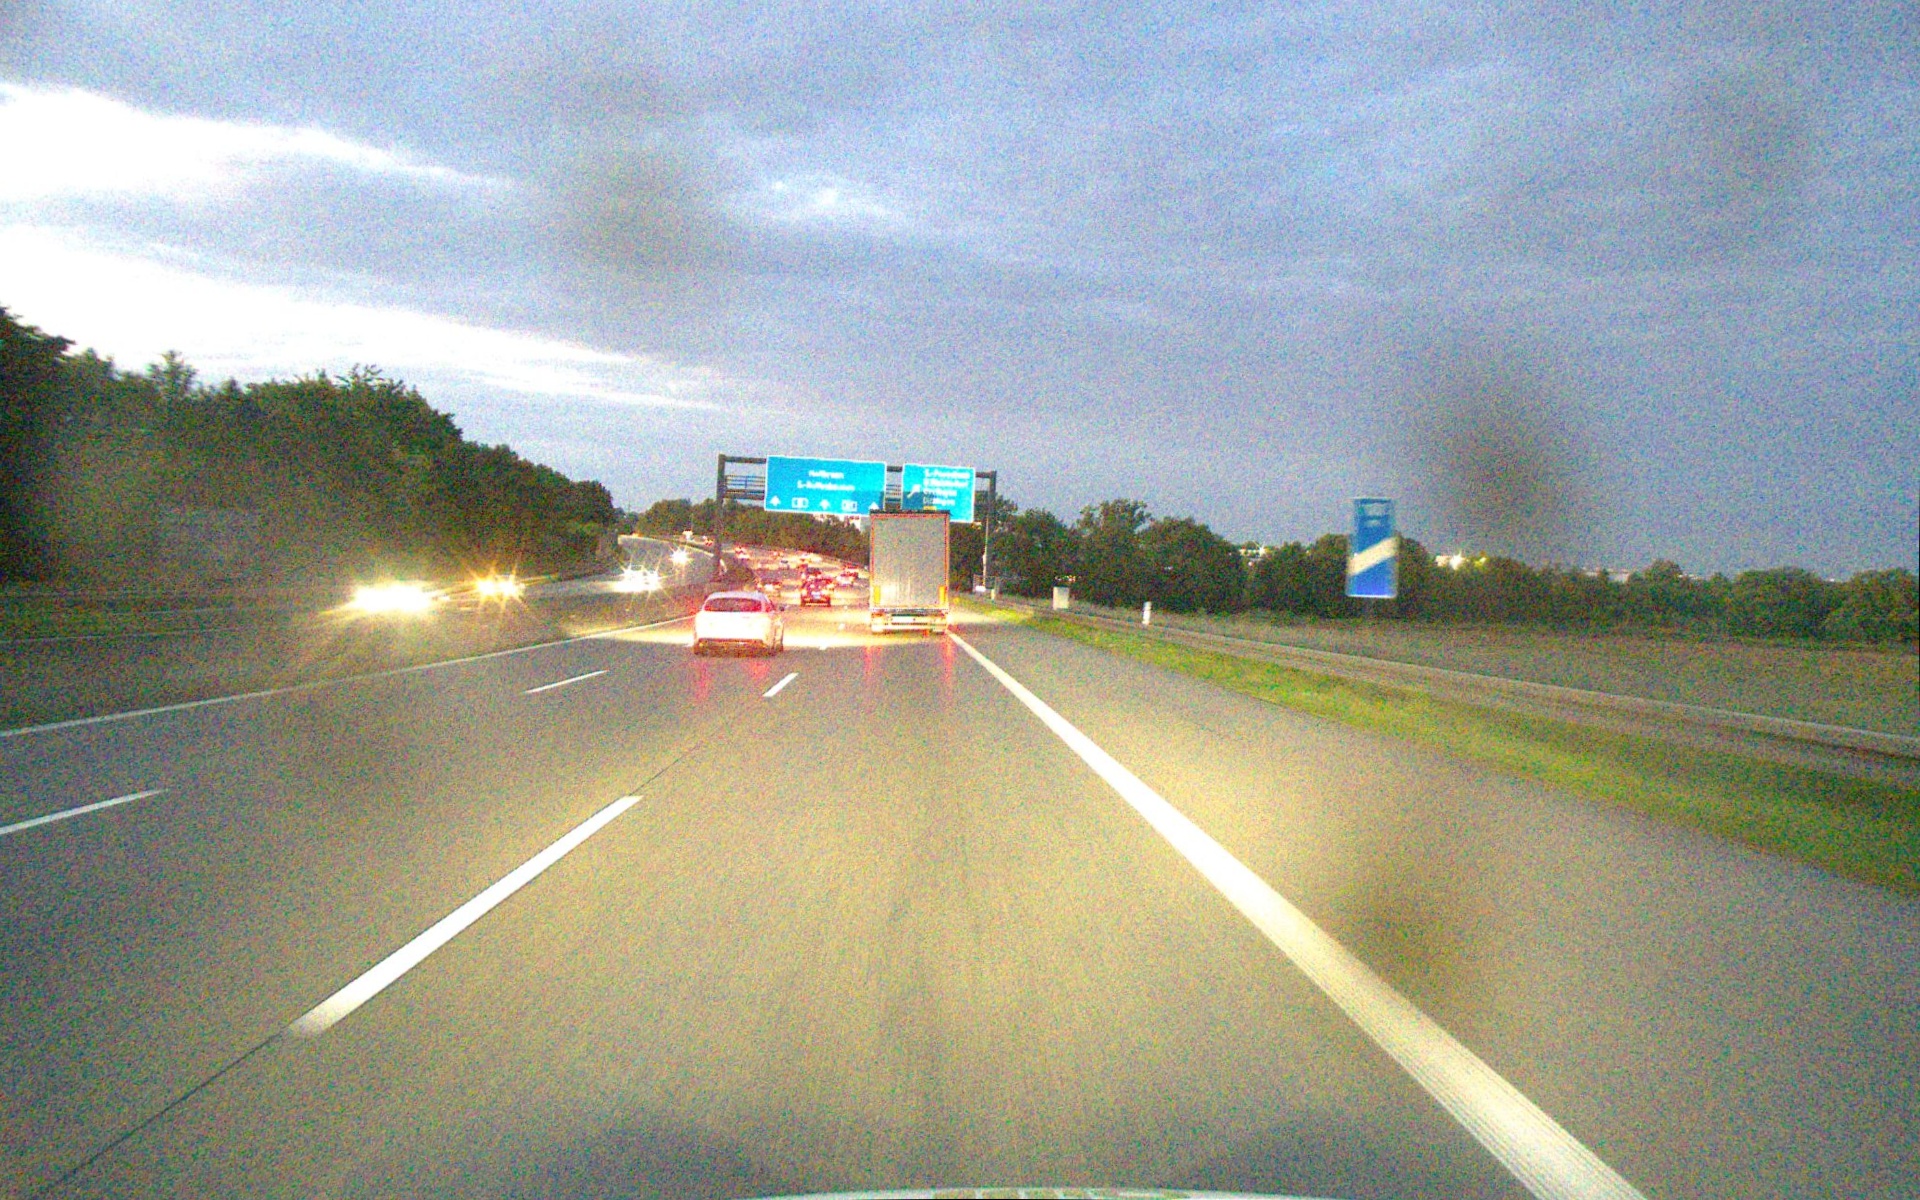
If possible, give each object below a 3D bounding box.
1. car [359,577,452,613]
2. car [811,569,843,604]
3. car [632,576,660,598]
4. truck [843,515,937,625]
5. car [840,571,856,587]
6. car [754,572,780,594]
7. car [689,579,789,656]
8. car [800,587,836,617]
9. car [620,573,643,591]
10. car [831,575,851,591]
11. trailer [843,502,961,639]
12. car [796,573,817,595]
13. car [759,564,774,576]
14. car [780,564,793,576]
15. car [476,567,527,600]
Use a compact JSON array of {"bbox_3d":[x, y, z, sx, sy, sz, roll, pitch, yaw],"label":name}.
[{"bbox_3d":[-21.505,-0.165,64.353,2.018,1.247,5.231,2,-1,-2],"label":"car"},{"bbox_3d":[-9.642,-0.944,119.689,1.957,2.422,3.991,2,-1,-9],"label":"car"},{"bbox_3d":[-29.356,-1.157,154.614,1.838,1.926,5.054,2,-1,-3],"label":"car"},{"bbox_3d":[-2.858,-1.191,65.532,3.481,4.162,6.146,0,1,-5],"label":"truck"},{"bbox_3d":[-14.956,-2.801,220.706,1.954,2.013,3.996,2,-1,-4],"label":"car"},{"bbox_3d":[-14.731,-1.277,126.356,1.727,1.602,4.573,2,-1,-4],"label":"car"},{"bbox_3d":[-5.095,0.410,38.633,1.868,1.642,4.801,2,-1,-3],"label":"car"},{"bbox_3d":[-8.622,0.128,100.774,2.024,1.715,4.572,2,-1,-4],"label":"car"},{"bbox_3d":[-36.065,-1.971,181.704,1.955,1.926,4.674,2,-1,-5],"label":"car"},{"bbox_3d":[-12.561,-1.752,174.659,1.953,1.561,3.998,2,-1,-2],"label":"car"},{"bbox_3d":[-2.311,-1.051,58.464,3.480,4.188,15.050,0,1,-5],"label":"trailer"},{"bbox_3d":[-15.773,-1.629,169.733,1.954,2.049,3.997,2,-1,-4],"label":"car"},{"bbox_3d":[-29.549,-4.646,252.976,1.953,1.650,3.998,2,-1,-2],"label":"car"},{"bbox_3d":[-27.413,-4.700,260.899,1.955,1.650,3.995,2,-1,-5],"label":"car"},{"bbox_3d":[-28.500,-1.006,102.886,1.954,1.926,5.054,2,-1,-3],"label":"car"}]
